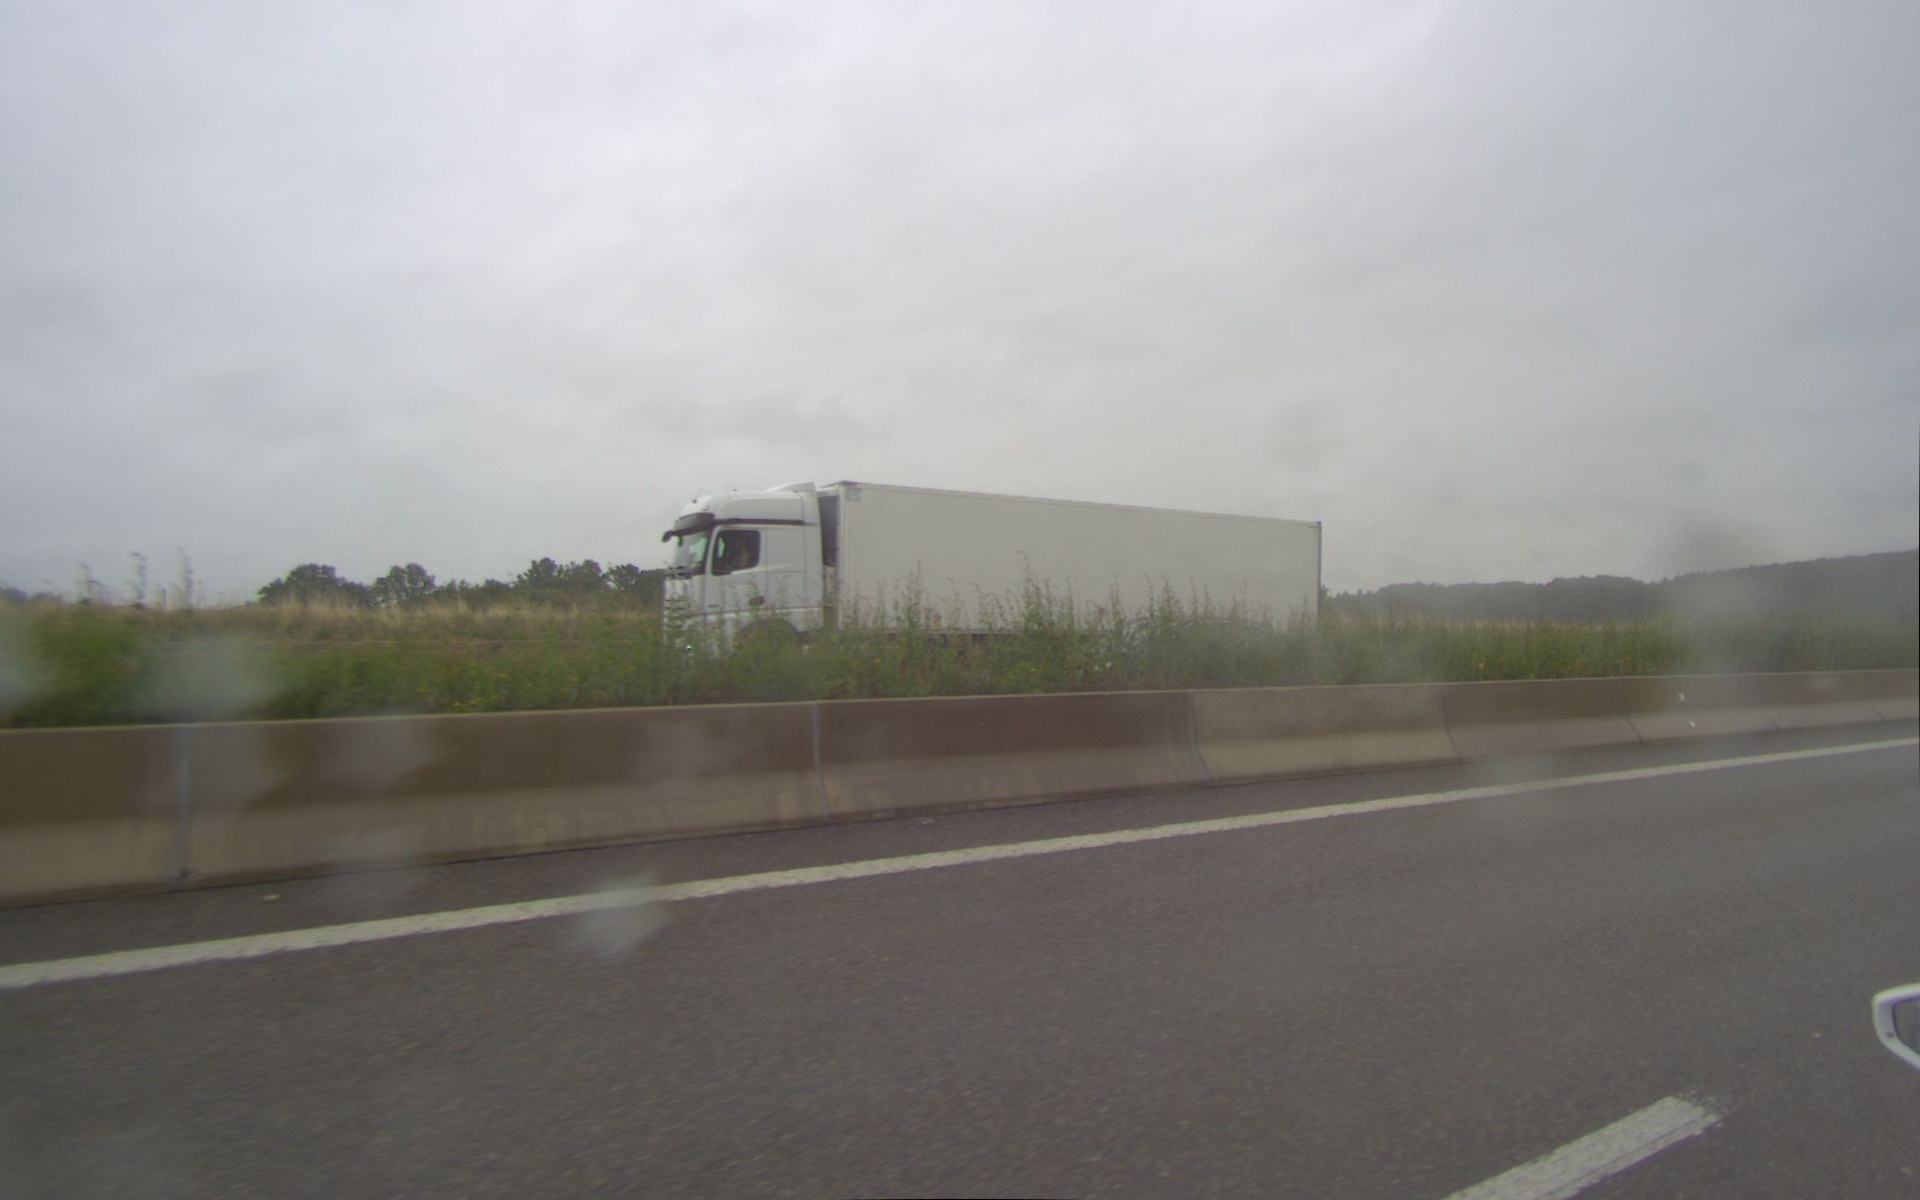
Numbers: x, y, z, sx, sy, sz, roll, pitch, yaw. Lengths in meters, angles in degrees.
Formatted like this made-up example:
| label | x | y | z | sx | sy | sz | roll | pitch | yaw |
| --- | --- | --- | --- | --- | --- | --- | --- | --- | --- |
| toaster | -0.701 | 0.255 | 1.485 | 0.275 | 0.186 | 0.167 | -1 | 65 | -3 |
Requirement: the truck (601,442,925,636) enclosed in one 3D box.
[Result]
| label | x | y | z | sx | sy | sz | roll | pitch | yaw |
| --- | --- | --- | --- | --- | --- | --- | --- | --- | --- |
| truck | -3.854 | -1.000 | 19.774 | 5.531 | 3.165 | 2.978 | 3 | -1 | -30 |

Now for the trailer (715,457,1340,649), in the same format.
| label | x | y | z | sx | sy | sz | roll | pitch | yaw |
| --- | --- | --- | --- | --- | --- | --- | --- | --- | --- |
| trailer | 2.405 | -0.662 | 23.455 | 15.539 | 3.185 | 2.973 | 3 | -1 | -31 |
